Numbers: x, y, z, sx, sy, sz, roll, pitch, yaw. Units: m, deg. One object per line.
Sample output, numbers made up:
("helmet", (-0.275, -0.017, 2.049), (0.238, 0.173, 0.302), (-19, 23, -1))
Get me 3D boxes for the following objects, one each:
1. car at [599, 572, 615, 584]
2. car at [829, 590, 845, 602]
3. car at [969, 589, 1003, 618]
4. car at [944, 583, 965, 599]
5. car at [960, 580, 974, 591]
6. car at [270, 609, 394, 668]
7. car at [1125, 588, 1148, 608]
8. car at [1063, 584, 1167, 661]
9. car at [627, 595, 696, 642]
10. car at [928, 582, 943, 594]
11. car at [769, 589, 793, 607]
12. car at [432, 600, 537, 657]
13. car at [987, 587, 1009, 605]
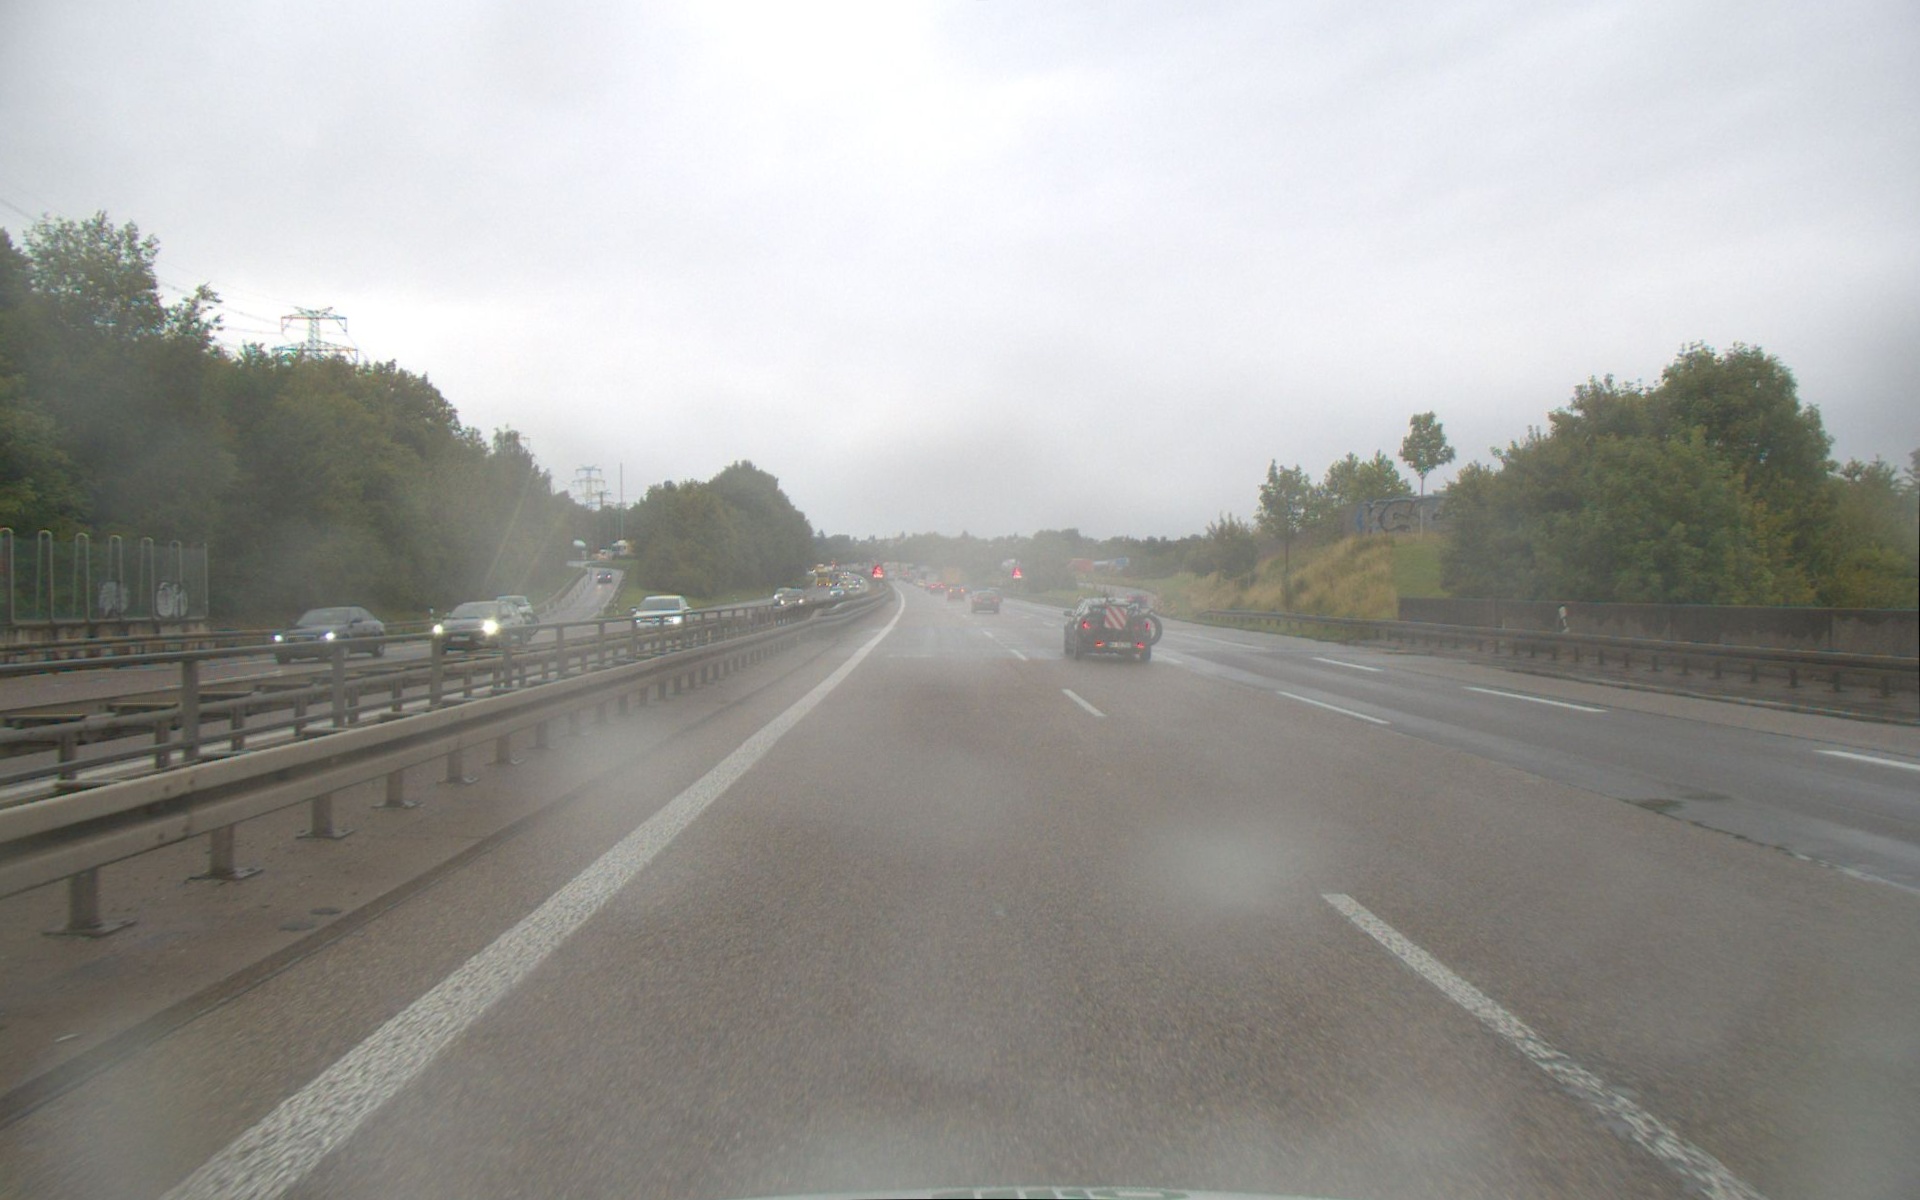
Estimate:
("car", (-45.668, -2.808, 213.789), (1.935, 1.570, 3.985), (-1, 1, -14))
("car", (-15.361, -0.499, 206.255), (1.722, 1.487, 4.760), (-2, 0, -1))
("car", (1.679, 0.189, 109.096), (1.954, 1.791, 3.998), (-1, 1, -3))
("car", (-0.596, -0.967, 177.247), (1.954, 1.657, 3.998), (-1, 1, -3))
("car", (1.036, -2.198, 249.646), (1.954, 1.657, 3.998), (-1, 1, -3))
("car", (-16.809, 0.988, 44.474), (1.779, 1.413, 4.088), (-2, 0, -1))
("car", (16.325, -0.218, 153.227), (1.882, 1.739, 4.002), (-1, 1, 4))
("car", (3.640, 0.519, 39.790), (2.015, 1.700, 5.522), (1, 0, 1))
("car", (-10.104, 0.605, 56.232), (1.623, 1.462, 4.088), (-2, 0, -1))
("car", (-3.560, -1.702, 239.881), (1.954, 1.657, 3.998), (-1, 1, -3))
("car", (-17.362, -0.204, 160.480), (1.866, 1.694, 4.712), (-1, 0, -2))
("car", (-13.336, 0.766, 46.626), (1.779, 1.462, 4.088), (-2, 0, -1))
("car", (3.939, -0.461, 170.346), (1.954, 1.791, 3.998), (-1, 1, -3))
